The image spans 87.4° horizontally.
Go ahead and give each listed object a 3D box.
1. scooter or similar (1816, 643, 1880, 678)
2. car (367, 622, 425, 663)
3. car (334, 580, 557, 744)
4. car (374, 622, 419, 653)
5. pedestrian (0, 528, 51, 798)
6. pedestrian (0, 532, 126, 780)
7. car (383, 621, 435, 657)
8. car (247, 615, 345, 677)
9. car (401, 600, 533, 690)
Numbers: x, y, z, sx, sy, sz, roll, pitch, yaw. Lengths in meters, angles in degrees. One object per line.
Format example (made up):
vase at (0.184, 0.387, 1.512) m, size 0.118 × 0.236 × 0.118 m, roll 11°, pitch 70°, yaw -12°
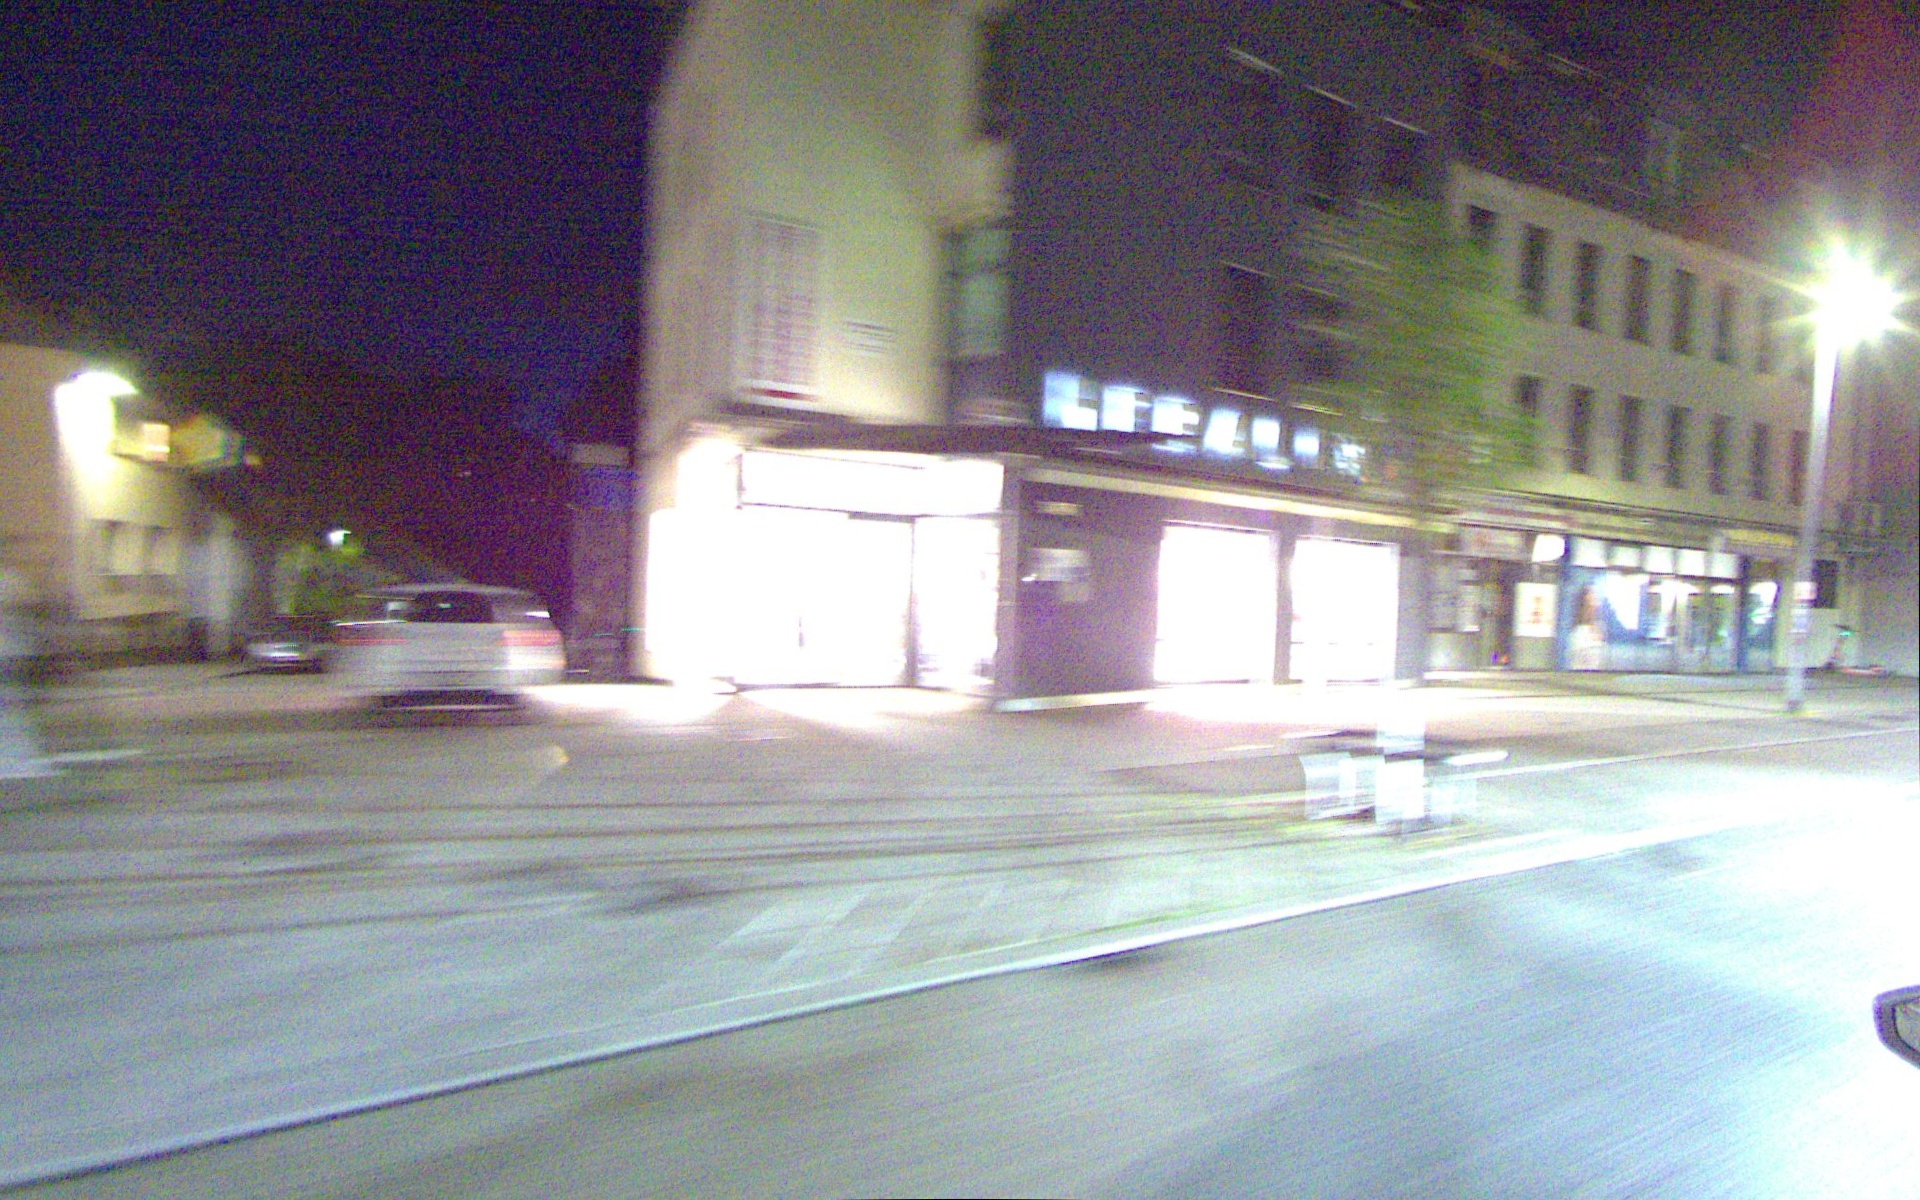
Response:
scooter or similar at (22.239, 1.512, 25.168) m, size 0.519 × 0.792 × 1.089 m, roll 1°, pitch 0°, yaw -32°
car at (-23.202, 1.755, 41.452) m, size 1.873 × 1.539 × 4.152 m, roll 3°, pitch -3°, yaw -27°
car at (-5.645, 0.654, 11.201) m, size 1.817 × 1.457 × 4.154 m, roll 2°, pitch -3°, yaw -26°
car at (-30.097, 2.012, 53.753) m, size 1.873 × 1.539 × 4.152 m, roll 3°, pitch -3°, yaw -27°
pedestrian at (-6.433, 0.392, 6.397) m, size 0.772 × 1.678 × 0.766 m, roll -1°, pitch 1°, yaw -29°
pedestrian at (-6.599, 0.377, 7.196) m, size 0.807 × 1.678 × 0.766 m, roll -1°, pitch 1°, yaw -29°
car at (-25.218, 1.808, 46.084) m, size 1.873 × 1.539 × 4.152 m, roll 3°, pitch -3°, yaw -27°
car at (-18.041, 1.250, 27.449) m, size 1.874 × 1.539 × 4.148 m, roll 3°, pitch -3°, yaw -30°
car at (-10.283, 0.936, 20.786) m, size 1.970 × 1.643 × 4.144 m, roll 3°, pitch -3°, yaw -32°
